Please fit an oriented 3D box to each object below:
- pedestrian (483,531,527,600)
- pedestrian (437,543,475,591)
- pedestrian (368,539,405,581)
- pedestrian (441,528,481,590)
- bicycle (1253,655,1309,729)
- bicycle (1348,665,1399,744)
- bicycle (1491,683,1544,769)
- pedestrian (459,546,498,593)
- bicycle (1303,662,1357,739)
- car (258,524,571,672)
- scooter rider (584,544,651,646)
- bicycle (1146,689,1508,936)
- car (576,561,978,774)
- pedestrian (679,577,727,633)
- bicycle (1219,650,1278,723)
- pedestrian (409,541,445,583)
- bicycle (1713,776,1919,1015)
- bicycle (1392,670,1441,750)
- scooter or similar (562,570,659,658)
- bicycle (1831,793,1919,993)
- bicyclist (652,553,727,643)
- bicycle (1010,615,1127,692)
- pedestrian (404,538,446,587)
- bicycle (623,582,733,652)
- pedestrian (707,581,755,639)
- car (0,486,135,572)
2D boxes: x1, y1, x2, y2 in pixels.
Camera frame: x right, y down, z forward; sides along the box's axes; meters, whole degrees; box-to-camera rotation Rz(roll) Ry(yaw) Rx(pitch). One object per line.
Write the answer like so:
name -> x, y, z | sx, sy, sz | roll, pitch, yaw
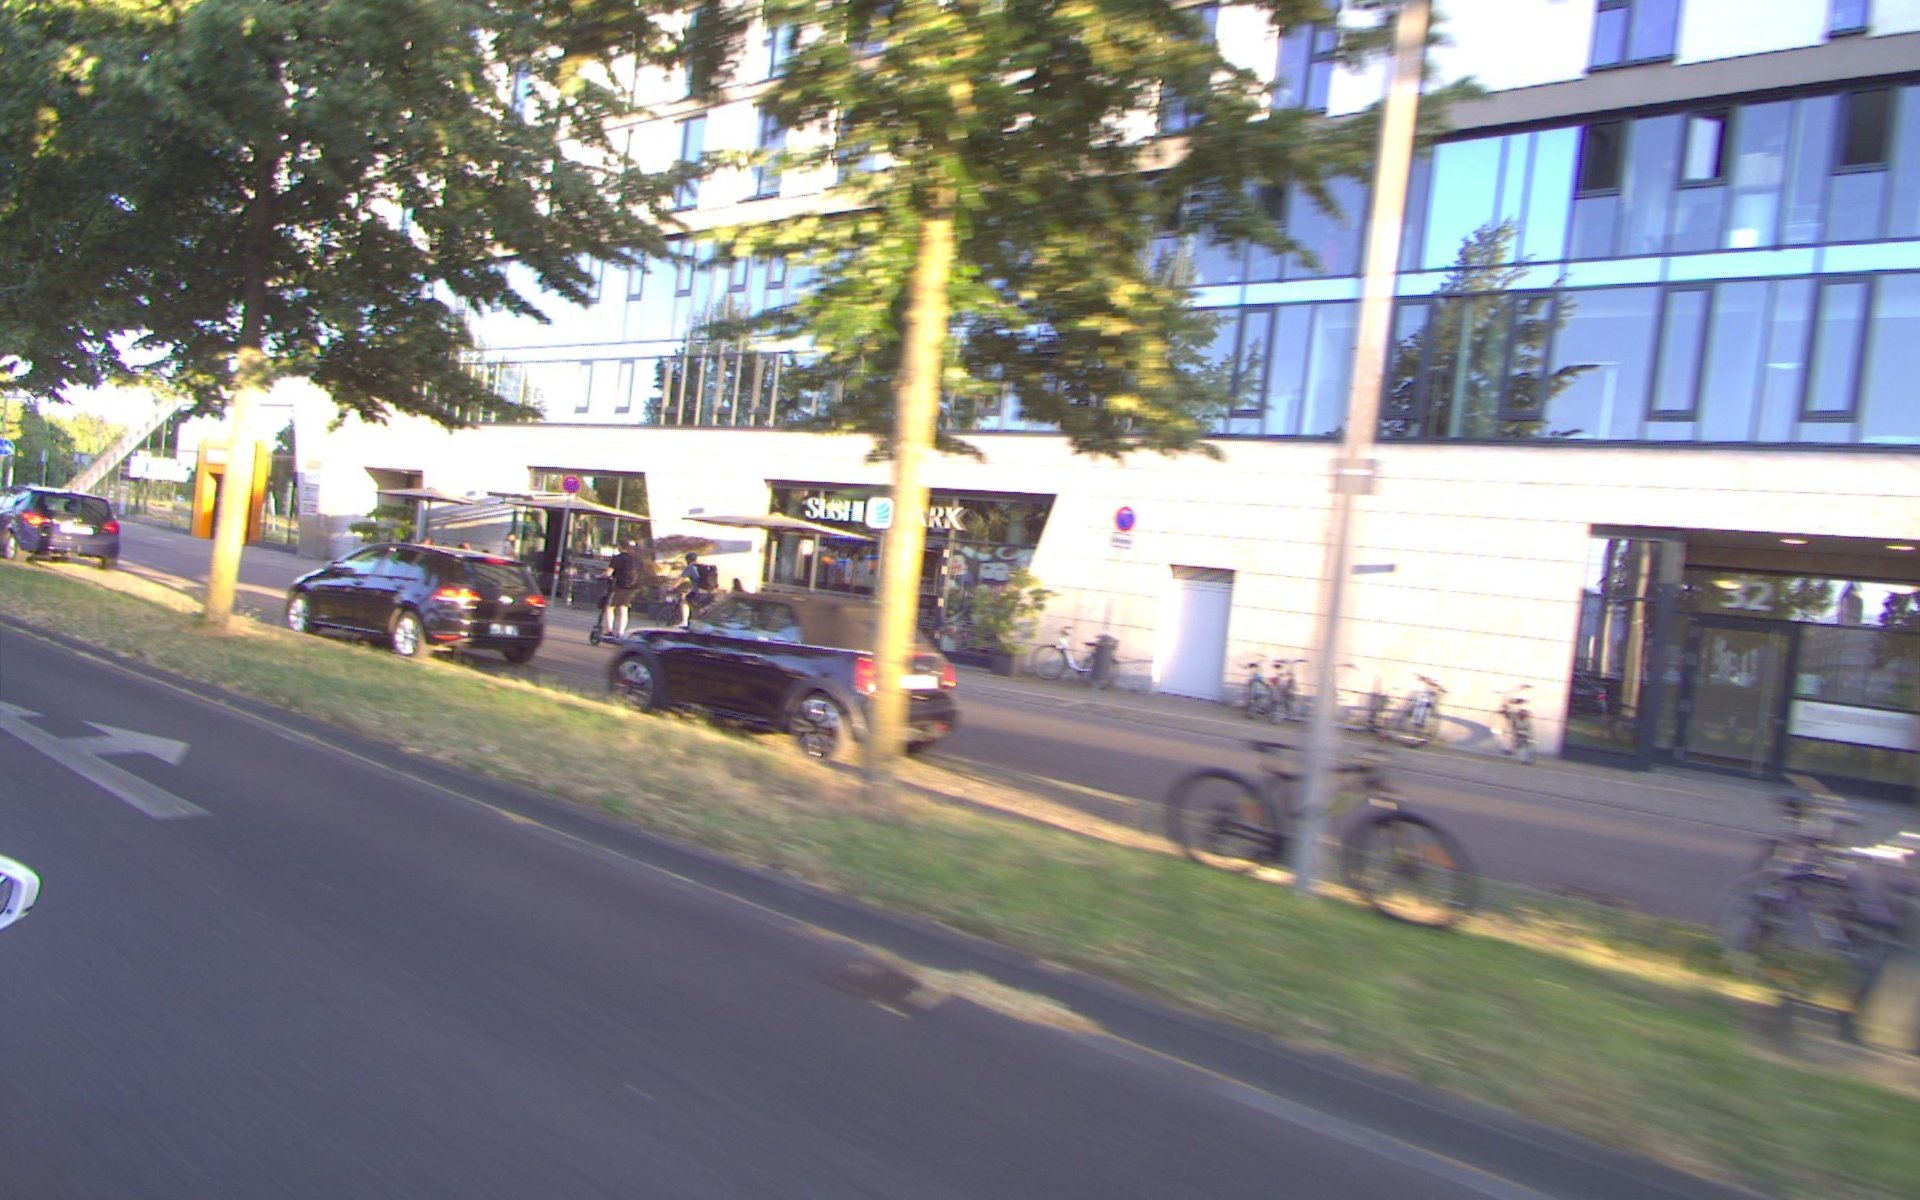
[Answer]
pedestrian -> -12.303, -0.914, 27.199 | 0.676, 1.759, 0.705 | 7, 1, 2
pedestrian -> -14.633, -0.958, 29.203 | 0.726, 1.299, 0.580 | 7, 1, 28
pedestrian -> -17.684, -1.235, 31.025 | 0.847, 1.201, 0.572 | 7, 1, 33
pedestrian -> -14.977, -1.216, 30.203 | 0.686, 1.740, 0.636 | 7, 1, 12
bicycle -> 5.370, 1.508, 16.769 | 0.500, 1.118, 1.788 | 7, 0, 27
bicycle -> 6.583, 1.626, 15.972 | 0.500, 1.118, 1.788 | 7, 0, 27
bicycle -> 8.259, 1.833, 14.942 | 0.500, 1.118, 1.788 | 7, 0, 27
pedestrian -> -14.275, -0.893, 29.838 | 0.725, 1.299, 0.581 | 7, 1, 14
bicycle -> 6.016, 1.595, 16.312 | 0.500, 1.118, 1.788 | 7, 0, 27
car -> -7.562, -0.049, 13.865 | 4.216, 1.490, 1.780 | 7, 0, 30
scooter rider -> -5.890, -0.085, 17.307 | 0.818, 1.659, 0.526 | 7, 1, 30
bicycle -> 2.025, 1.136, 5.732 | 1.816, 0.992, 0.319 | 7, 1, 33
car -> -1.915, 0.581, 10.103 | 3.818, 1.490, 1.576 | 7, 0, 33
pedestrian -> -5.971, 0.115, 23.398 | 0.793, 1.211, 0.572 | 7, 1, 32
bicycle -> 4.916, 1.446, 17.067 | 0.500, 1.118, 1.788 | 7, 0, 27
pedestrian -> -16.452, -1.161, 31.060 | 0.708, 1.201, 0.614 | 7, 1, -5
bicycle -> 4.873, 1.552, 5.625 | 0.536, 0.950, 2.151 | 8, -3, 25
bicycle -> 7.155, 1.684, 15.744 | 0.500, 1.118, 1.788 | 7, 0, 27
scooter or similar -> -6.042, 0.233, 17.382 | 1.636, 1.327, 0.526 | 7, 1, 30
bicycle -> 5.199, 1.567, 5.171 | 0.435, 0.950, 2.151 | 8, -3, 25
bicyclist -> -5.207, -0.037, 19.372 | 0.975, 1.586, 0.773 | 7, 1, 30
bicycle -> 2.101, 1.022, 19.683 | 2.228, 1.224, 0.469 | 7, 1, 36
pedestrian -> -15.284, -1.062, 28.732 | 0.703, 1.299, 0.627 | 7, 1, 11
bicycle -> -5.483, 0.325, 19.519 | 2.028, 1.093, 0.773 | 7, 1, 30
pedestrian -> -5.210, 0.218, 22.877 | 0.793, 1.211, 0.571 | 7, 1, 34
car -> -19.957, -1.616, 21.851 | 4.088, 1.484, 1.759 | 7, 0, 30
